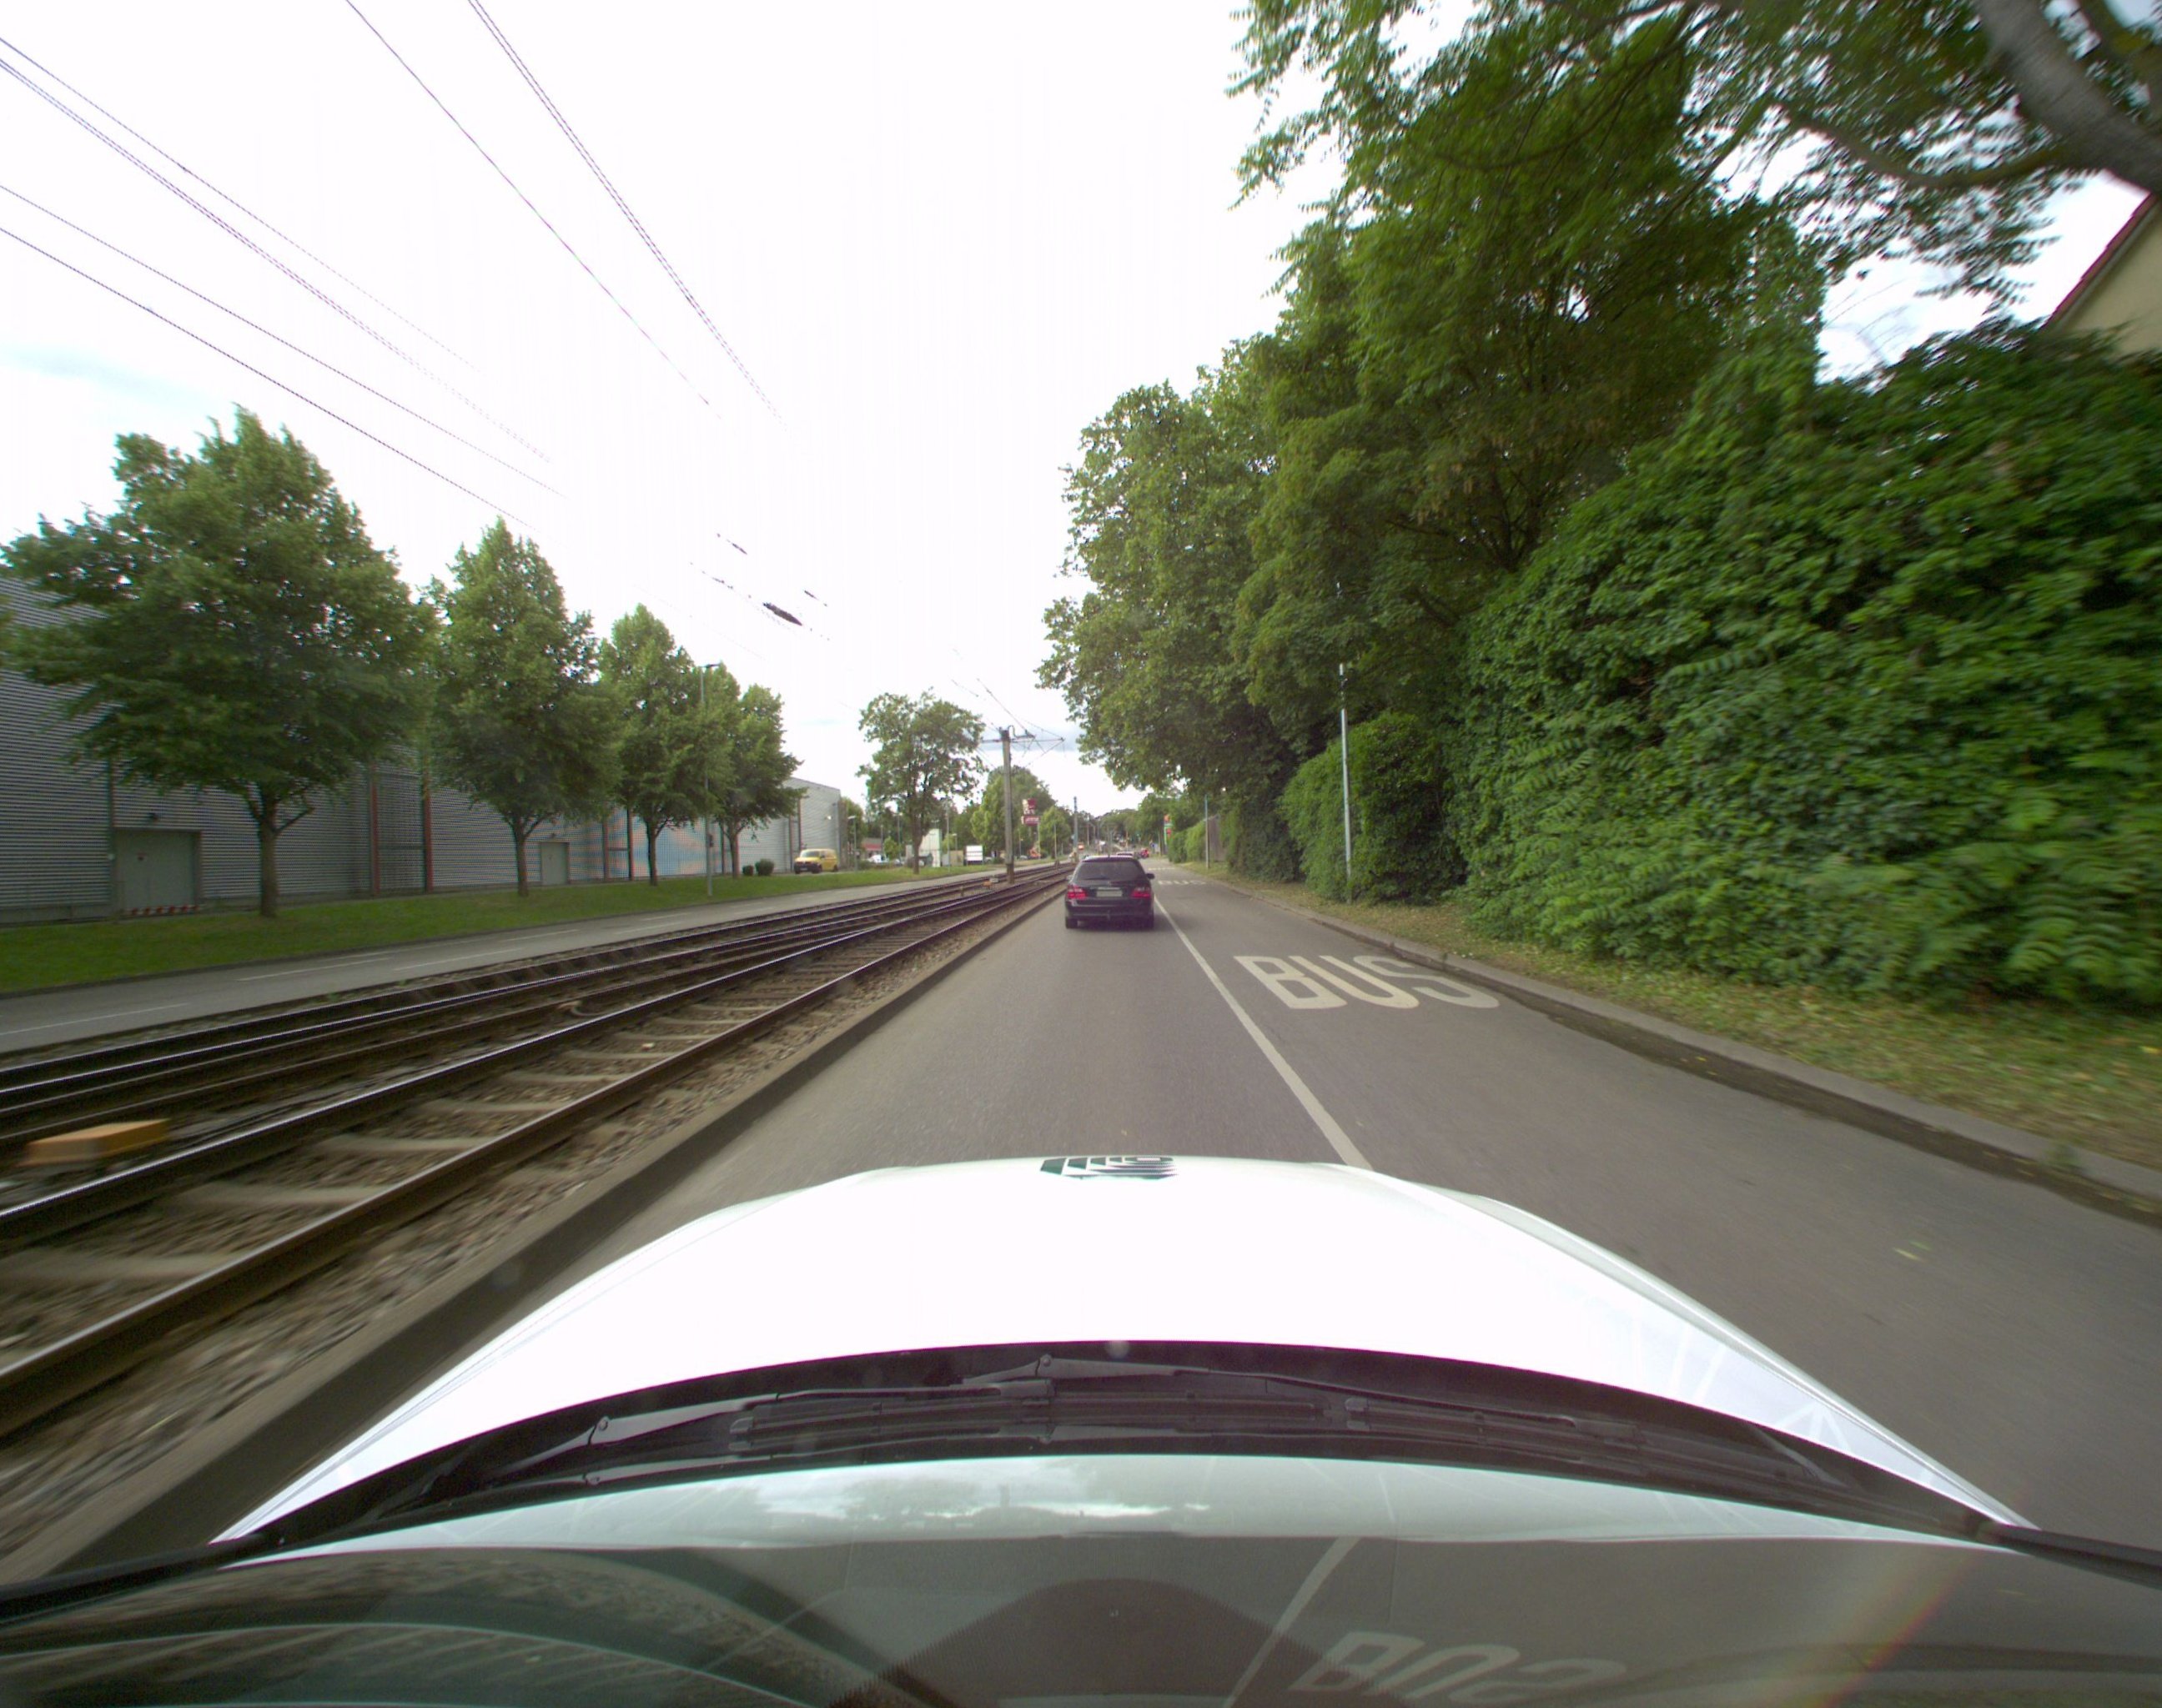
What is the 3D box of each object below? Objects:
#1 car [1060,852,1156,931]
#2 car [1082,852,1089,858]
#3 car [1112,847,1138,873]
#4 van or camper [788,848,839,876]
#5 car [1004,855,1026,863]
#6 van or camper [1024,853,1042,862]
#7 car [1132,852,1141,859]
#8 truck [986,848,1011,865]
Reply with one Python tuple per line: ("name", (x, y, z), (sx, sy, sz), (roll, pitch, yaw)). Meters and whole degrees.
("car", (0.632, 0.703, 17.260), (1.800, 1.474, 3.885), (-1, 0, 4))
("car", (1.366, 0.257, 232.245), (1.752, 1.401, 4.447), (-4, 0, 3))
("car", (3.060, 0.438, 56.518), (1.772, 1.750, 3.721), (0, 0, 4))
("van or camper", (-20.567, 0.575, 62.887), (2.096, 2.013, 5.243), (-2, 0, 0))
("car", (-13.588, 1.030, 167.922), (4.291, 1.472, 1.681), (-2, 0, 1))
("van or camper", (-11.445, 0.764, 194.387), (3.975, 2.135, 1.877), (-1, 0, -1))
("car", (9.940, 0.278, 146.471), (1.564, 1.414, 3.357), (0, 0, 4))
("truck", (-14.663, 0.495, 145.077), (3.973, 2.821, 2.377), (-2, 0, 1))
